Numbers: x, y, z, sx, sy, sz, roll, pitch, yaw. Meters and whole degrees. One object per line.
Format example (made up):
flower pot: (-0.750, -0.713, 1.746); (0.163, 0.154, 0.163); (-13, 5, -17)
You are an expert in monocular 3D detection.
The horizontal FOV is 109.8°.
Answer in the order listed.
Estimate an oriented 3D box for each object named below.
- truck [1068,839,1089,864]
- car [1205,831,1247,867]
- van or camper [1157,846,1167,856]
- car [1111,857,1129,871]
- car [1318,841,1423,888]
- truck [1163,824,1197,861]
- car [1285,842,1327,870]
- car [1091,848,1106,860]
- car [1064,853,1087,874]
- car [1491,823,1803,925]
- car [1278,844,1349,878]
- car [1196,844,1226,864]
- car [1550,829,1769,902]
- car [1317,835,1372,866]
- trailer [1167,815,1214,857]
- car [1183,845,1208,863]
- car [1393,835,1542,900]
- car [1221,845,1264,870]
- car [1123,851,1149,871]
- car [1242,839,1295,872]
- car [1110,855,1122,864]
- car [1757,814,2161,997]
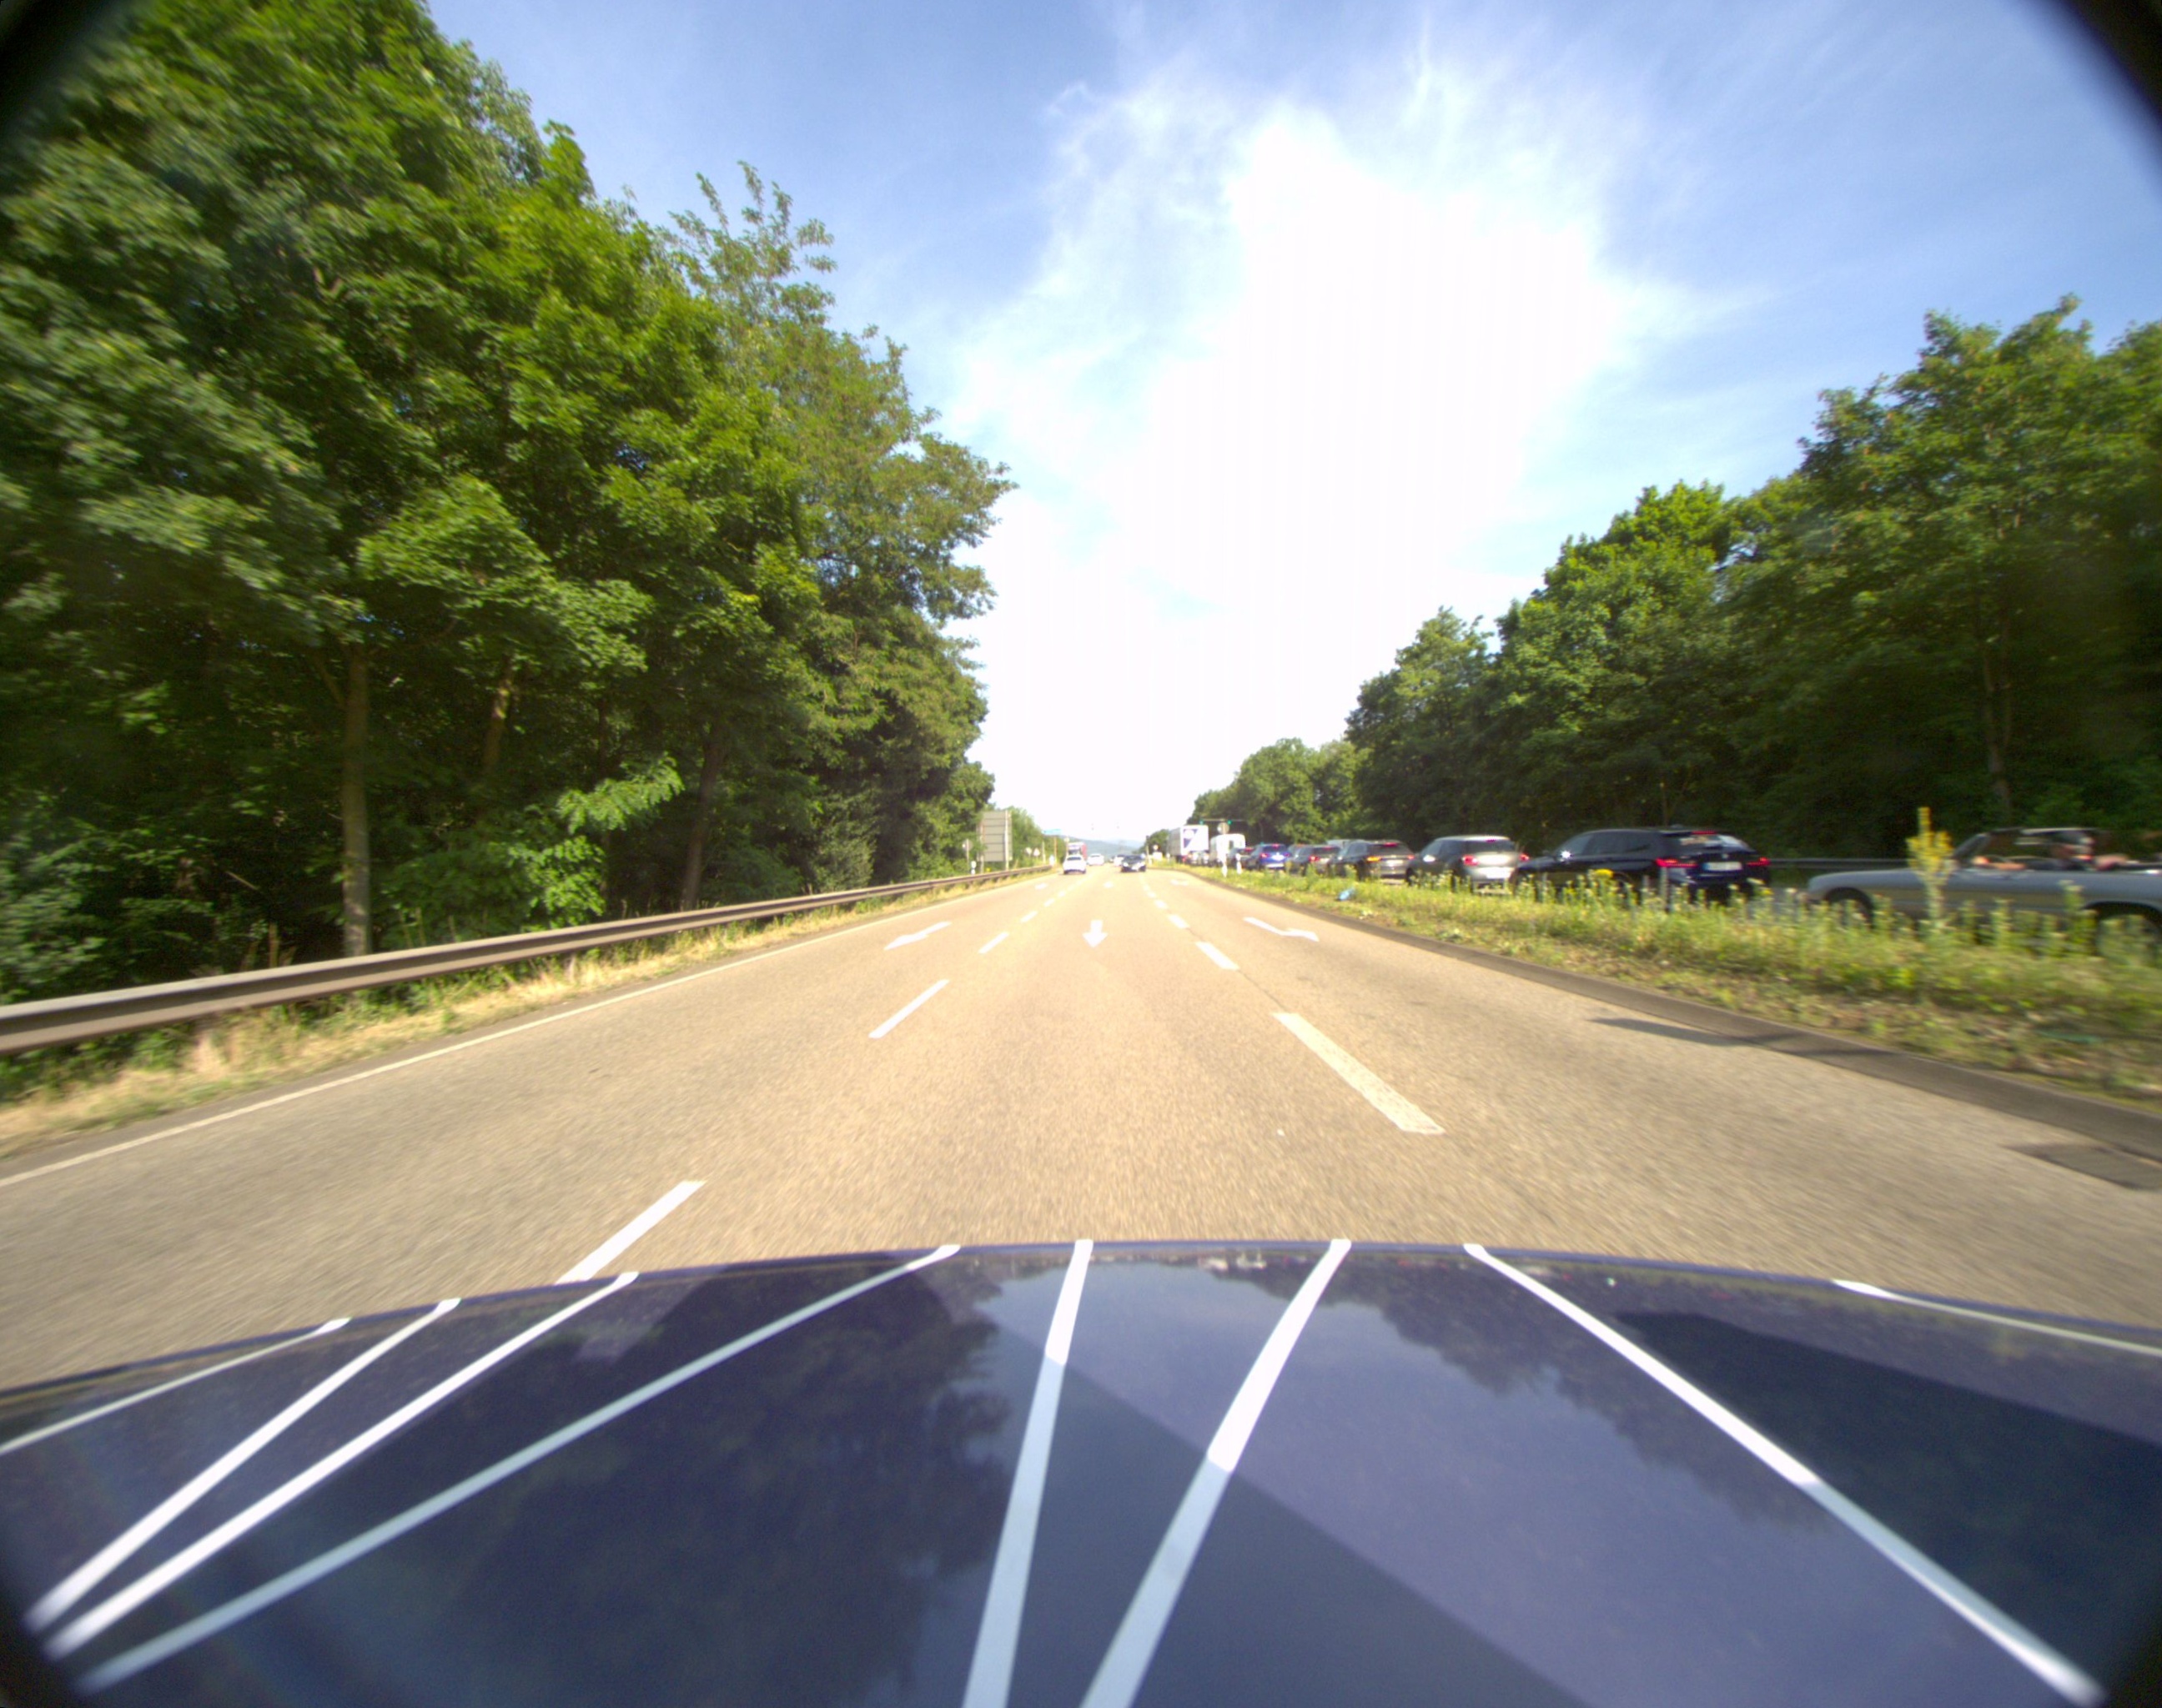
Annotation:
truck: (-0.328, -0.431, 136.460); (3.196, 3.995, 14.565); (-4, 0, 1)
car: (10.731, -0.327, 56.521); (2.080, 2.519, 6.164); (-1, 0, 2)
van or camper: (23.531, -0.810, 220.795); (2.418, 2.695, 6.438); (0, 0, 2)
car: (4.722, 1.220, 93.051); (1.998, 1.632, 4.000); (-4, 0, 1)
car: (9.789, 0.332, 26.146); (1.775, 1.415, 5.193); (-1, 0, 2)
truck: (11.708, -1.312, 90.232); (2.898, 3.974, 6.722); (-4, 0, 0)
car: (14.260, 0.102, 48.248); (1.629, 1.696, 3.575); (1, 0, 1)
car: (2.545, -0.021, 112.539); (1.999, 1.632, 4.000); (-4, 0, -1)
car: (-0.449, 0.775, 63.887); (1.875, 1.625, 4.834); (-1, 0, 0)
car: (9.478, 0.298, 13.447); (1.771, 1.415, 5.194); (-1, 0, 2)
car: (10.100, 0.300, 33.422); (1.775, 1.371, 4.844); (-1, 0, 2)
car: (10.915, 0.023, 64.173); (1.704, 1.622, 4.747); (-1, 0, 0)
car: (13.279, 0.241, 17.861); (1.872, 1.452, 4.416); (-1, 0, 2)
car: (17.712, -0.230, 51.361); (2.016, 1.924, 5.102); (1, 0, 2)
trailer: (11.578, -1.798, 82.044); (2.999, 3.972, 14.014); (-4, 0, 1)
car: (10.784, 0.025, 71.808); (1.704, 1.622, 4.371); (-1, 0, 0)
car: (9.538, 0.316, 19.149); (1.711, 1.415, 4.212); (-1, 0, 2)
car: (10.178, 0.199, 48.244); (1.764, 1.448, 5.186); (-1, 0, 2)
car: (4.470, 0.547, 62.516); (1.861, 1.452, 4.569); (-4, 0, 1)
car: (10.141, 0.107, 41.440); (1.775, 1.659, 4.801); (-1, 0, 2)
car: (7.033, 1.114, 154.012); (1.999, 1.632, 4.000); (-4, 0, -1)
car: (9.256, 0.381, 7.233); (1.771, 1.409, 4.434); (-1, 0, 2)
